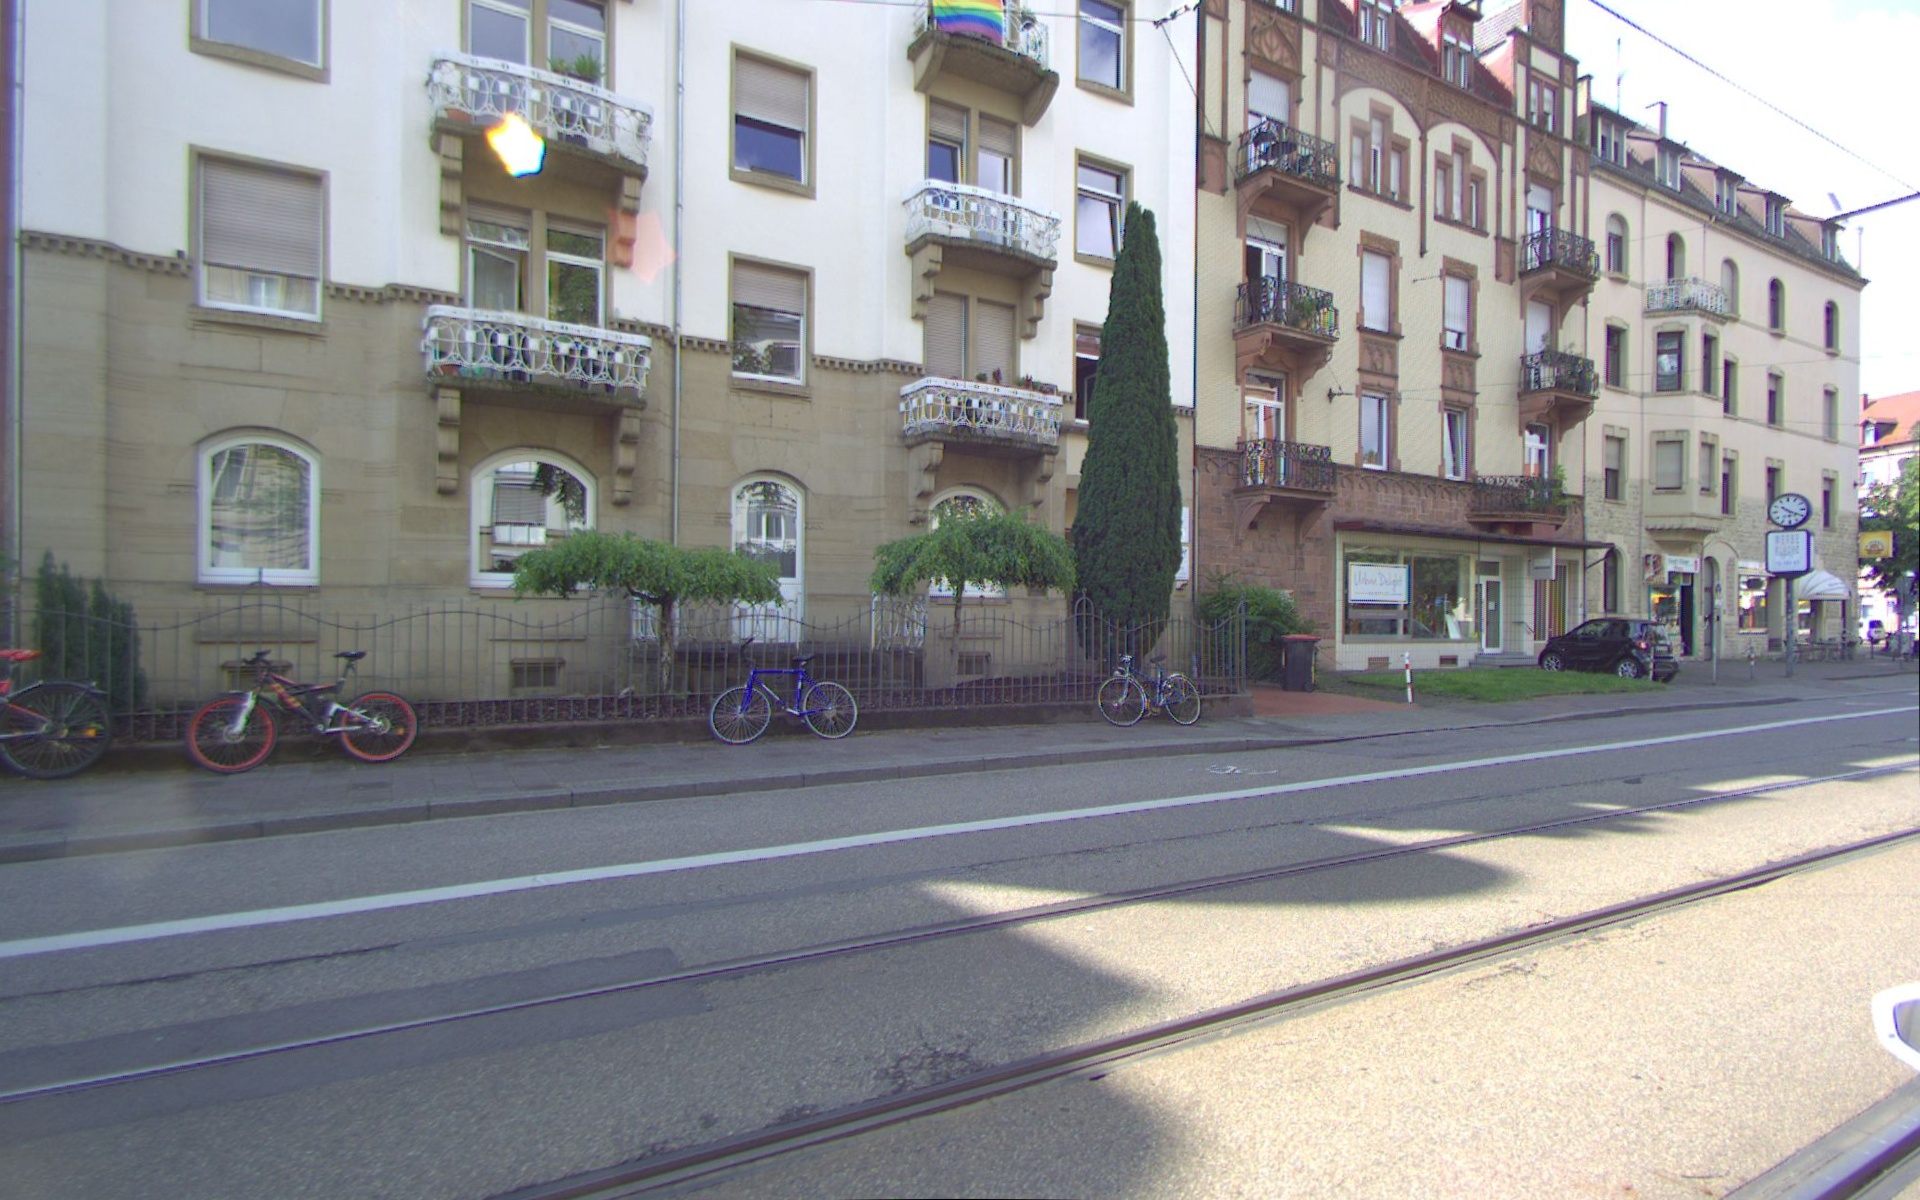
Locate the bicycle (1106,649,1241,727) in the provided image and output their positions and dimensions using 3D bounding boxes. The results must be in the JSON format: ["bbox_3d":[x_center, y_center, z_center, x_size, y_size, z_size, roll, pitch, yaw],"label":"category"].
[{"bbox_3d":[2.910,1.199,13.673,1.790,0.972,0.510,3,1,-24],"label":"bicycle"}]

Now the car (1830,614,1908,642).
[{"bbox_3d":[72.417,2.275,80.096,1.970,2.039,4.116,1,-4,-20],"label":"car"}]

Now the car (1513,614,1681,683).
[{"bbox_3d":[16.264,1.204,25.777,1.657,1.533,3.224,1,1,-27],"label":"car"}]

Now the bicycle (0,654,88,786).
[{"bbox_3d":[-7.738,0.913,7.520,1.779,0.972,0.381,1,1,-29],"label":"bicycle"}]

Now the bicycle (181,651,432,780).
[{"bbox_3d":[-5.572,0.959,8.676,1.779,0.988,0.381,1,1,-29],"label":"bicycle"}]

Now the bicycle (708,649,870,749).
[{"bbox_3d":[-1.842,1.046,10.910,1.685,0.972,0.424,1,1,-29],"label":"bicycle"}]

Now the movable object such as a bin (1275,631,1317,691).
[{"bbox_3d":[6.474,1.170,19.357,0.595,1.084,0.597,2,2,4],"label":"movable object such as a bin"}]
